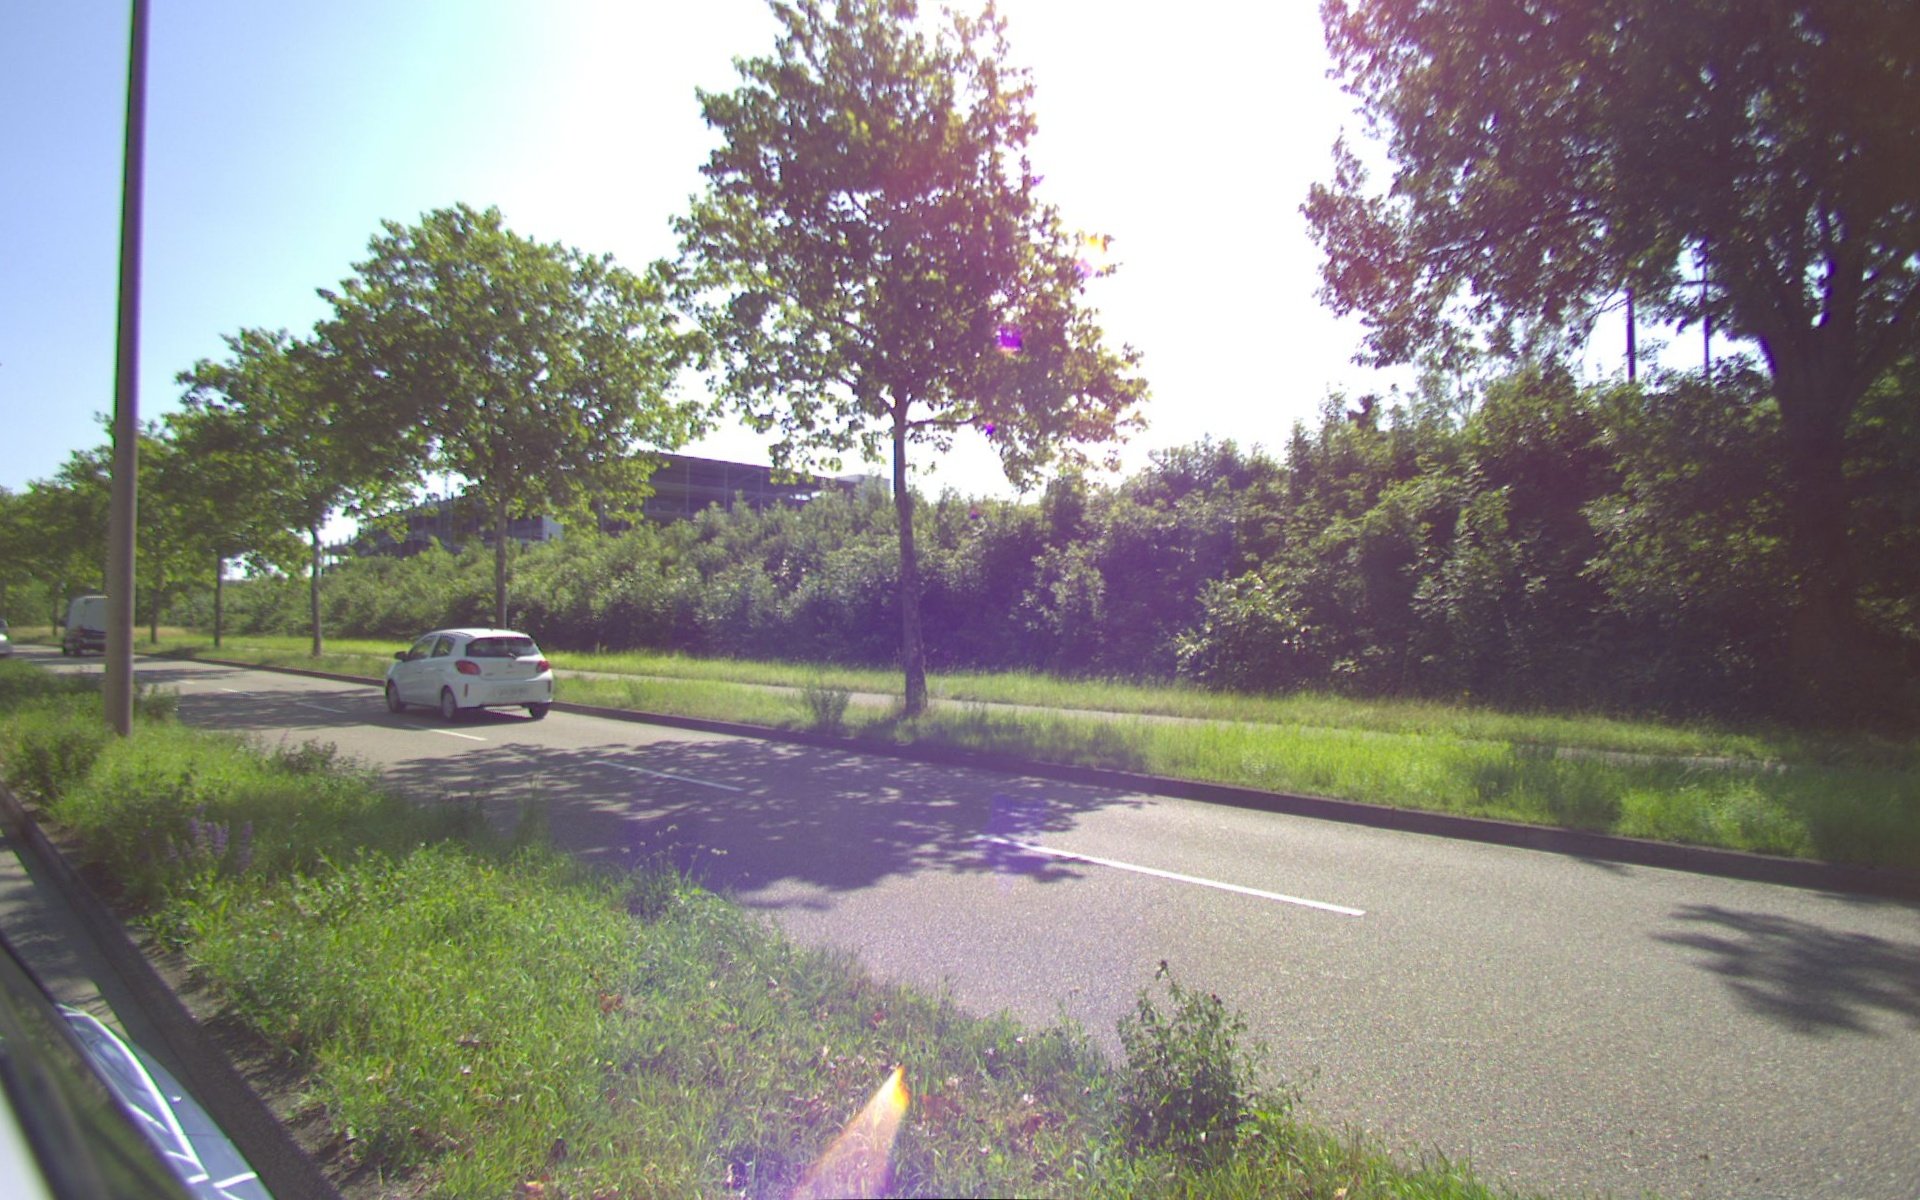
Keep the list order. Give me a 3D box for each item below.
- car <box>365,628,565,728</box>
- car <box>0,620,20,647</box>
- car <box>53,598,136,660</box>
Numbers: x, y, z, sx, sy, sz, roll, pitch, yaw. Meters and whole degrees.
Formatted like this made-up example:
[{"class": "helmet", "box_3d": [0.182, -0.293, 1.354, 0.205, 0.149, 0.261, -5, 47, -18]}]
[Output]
[{"class": "car", "box_3d": [-8.620, 1.271, 17.479, 3.998, 1.519, 1.682, -2, -3, 41]}, {"class": "car", "box_3d": [-70.176, 2.378, 73.506, 4.567, 1.912, 1.975, -1, -4, 37]}, {"class": "car", "box_3d": [-39.671, 1.319, 46.336, 5.783, 2.683, 1.973, -1, -3, 41]}]
